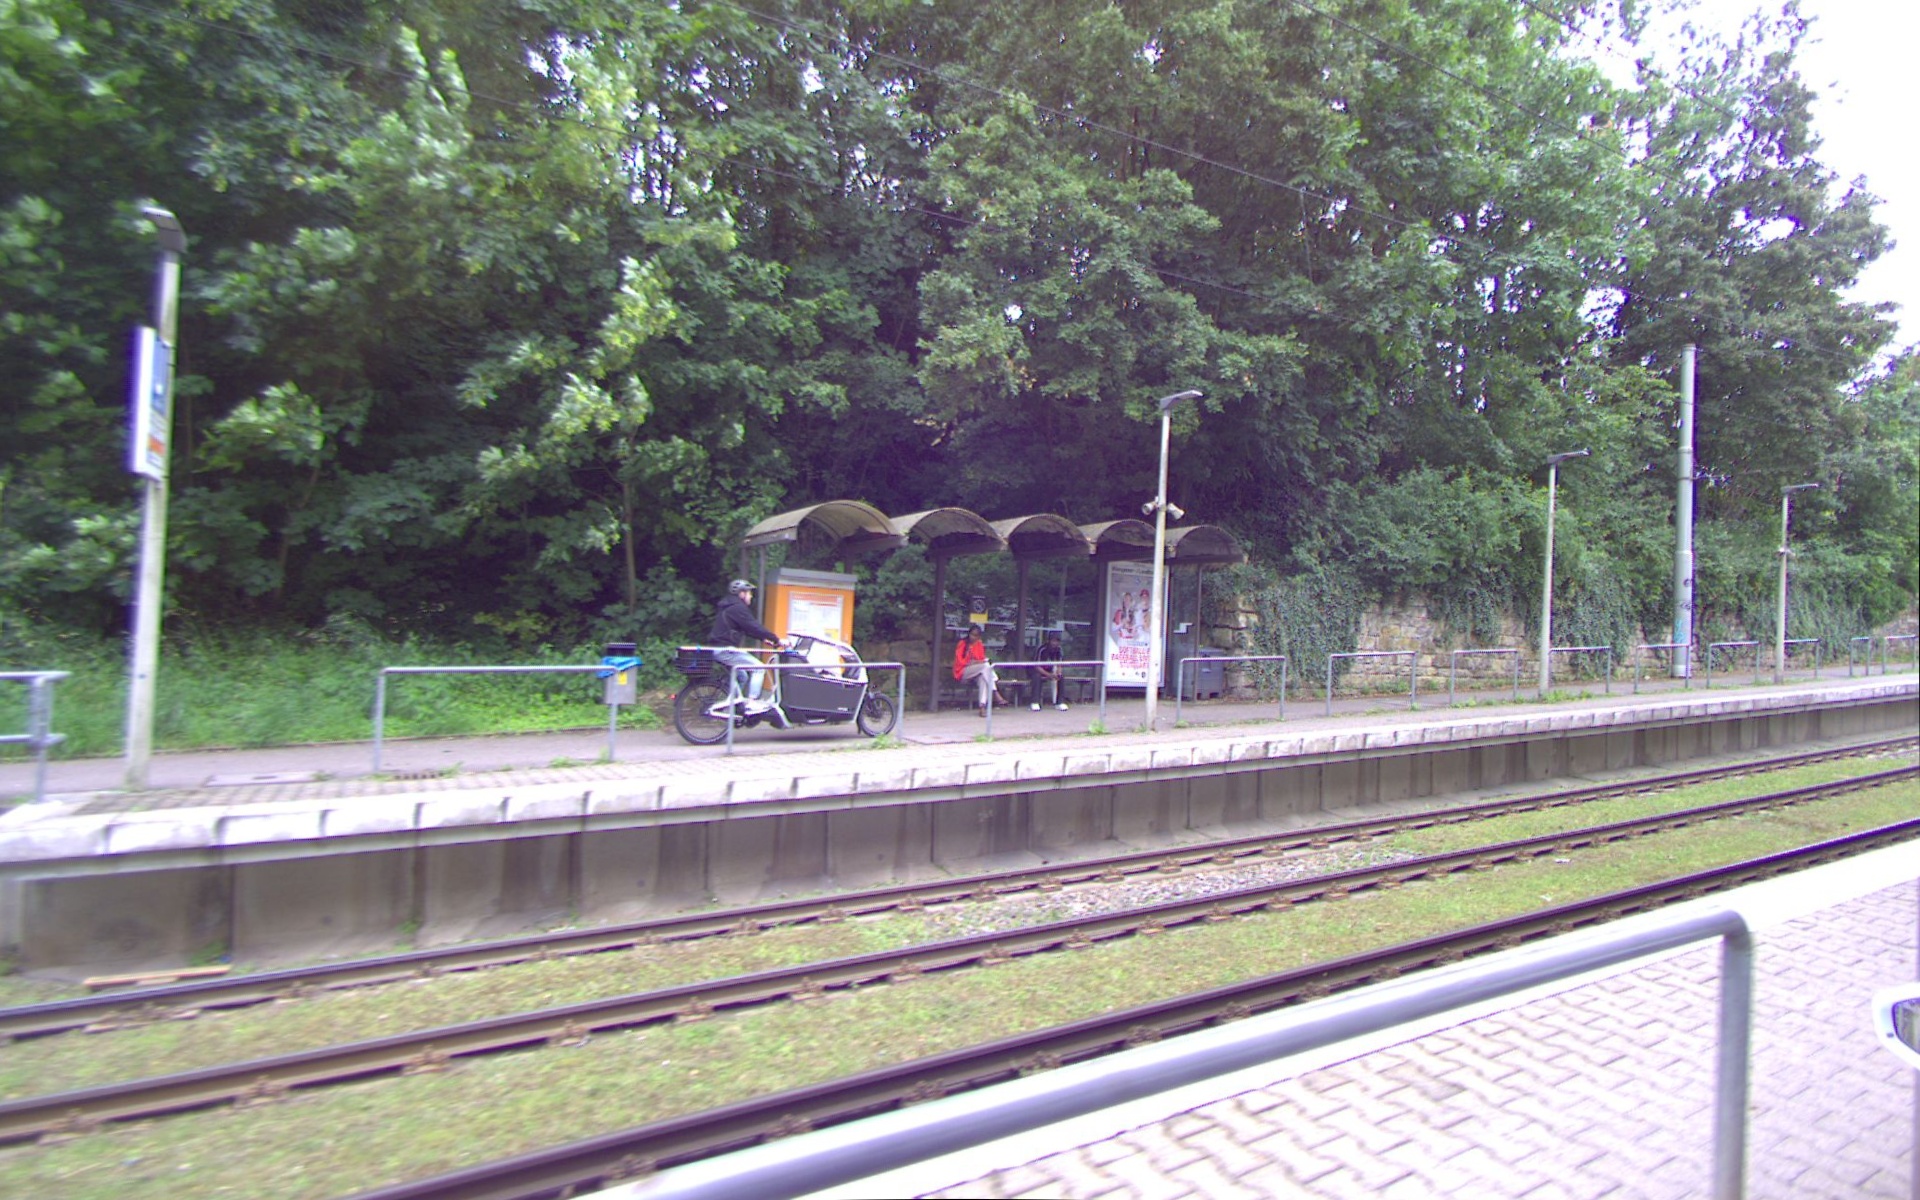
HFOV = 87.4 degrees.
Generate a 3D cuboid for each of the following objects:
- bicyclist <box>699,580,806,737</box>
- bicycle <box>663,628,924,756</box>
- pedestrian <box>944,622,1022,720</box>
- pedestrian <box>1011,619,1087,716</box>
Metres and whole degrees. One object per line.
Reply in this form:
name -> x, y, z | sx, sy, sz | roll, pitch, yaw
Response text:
bicyclist -> -2.303, 0.610, 11.131 | 1.019, 1.650, 0.702 | 0, 2, -27
bicycle -> -1.846, 0.978, 11.369 | 2.829, 1.257, 0.747 | 0, 1, -27
pedestrian -> 0.327, 1.003, 14.513 | 0.767, 1.340, 0.815 | 2, 0, -36
pedestrian -> 1.337, 0.999, 15.138 | 0.767, 1.393, 0.815 | 2, 0, -36
